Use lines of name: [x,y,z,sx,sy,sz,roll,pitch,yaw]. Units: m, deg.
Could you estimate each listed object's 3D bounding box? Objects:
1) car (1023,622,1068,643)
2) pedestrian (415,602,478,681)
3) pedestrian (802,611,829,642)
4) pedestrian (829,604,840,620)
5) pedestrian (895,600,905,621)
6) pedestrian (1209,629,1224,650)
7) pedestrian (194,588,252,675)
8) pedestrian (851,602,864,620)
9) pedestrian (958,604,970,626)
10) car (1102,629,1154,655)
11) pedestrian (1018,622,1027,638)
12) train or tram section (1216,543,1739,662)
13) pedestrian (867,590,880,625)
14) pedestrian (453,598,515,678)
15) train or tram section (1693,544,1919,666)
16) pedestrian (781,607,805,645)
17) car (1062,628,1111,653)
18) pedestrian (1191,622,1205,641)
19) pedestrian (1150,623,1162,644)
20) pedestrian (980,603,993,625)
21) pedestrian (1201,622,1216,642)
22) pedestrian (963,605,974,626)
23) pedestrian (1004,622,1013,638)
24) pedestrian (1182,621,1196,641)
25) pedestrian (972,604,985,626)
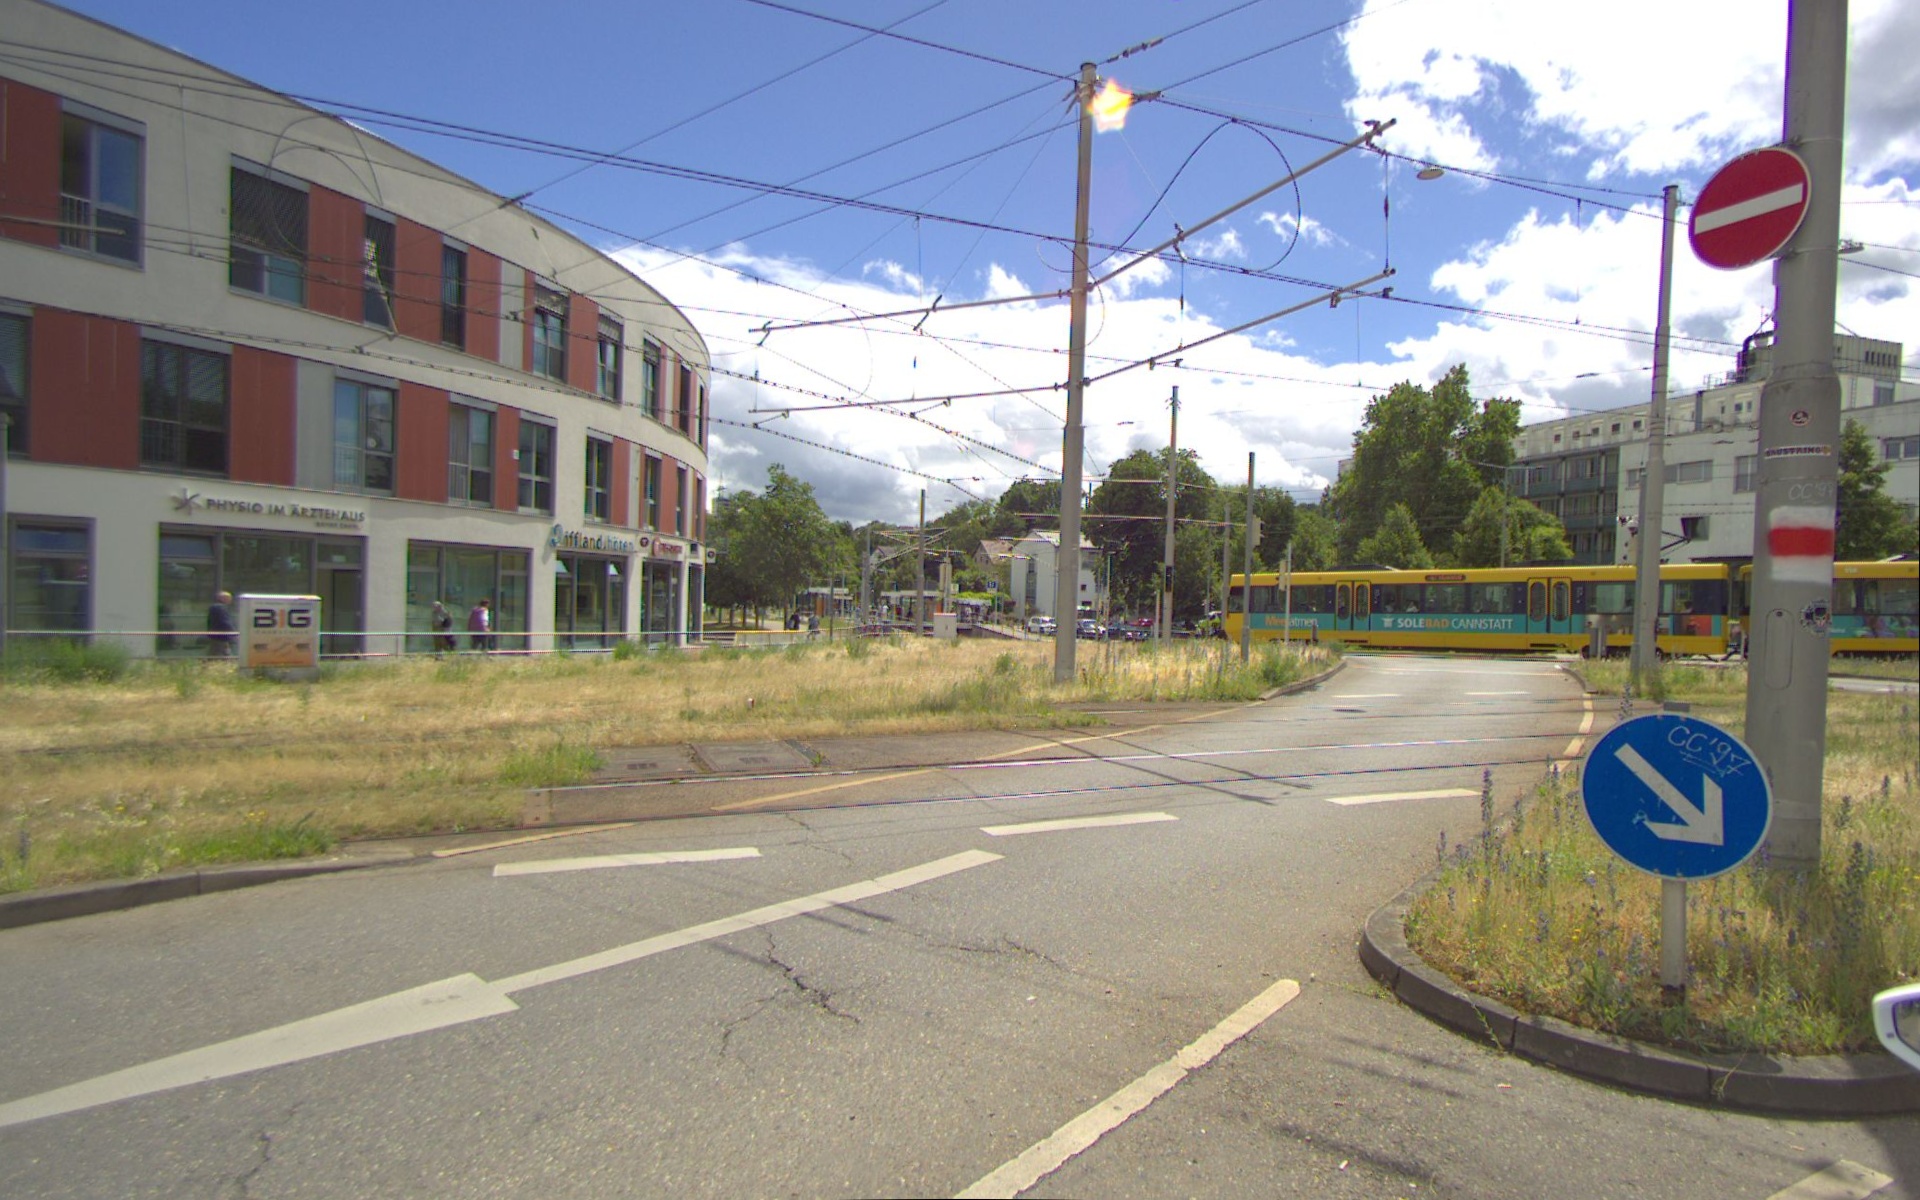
car: [6.796,2.572,80.365,1.908,1.575,4.474,2,-2,-18]
pedestrian: [-13.225,1.061,25.894,0.849,1.994,1.114,1,-1,29]
pedestrian: [-7.820,1.412,54.488,1.020,1.646,0.980,0,-2,38]
pedestrian: [-16.488,1.536,131.725,1.241,2.040,1.121,2,-1,-19]
pedestrian: [-5.989,1.031,100.299,0.807,2.040,0.771,2,-1,-15]
pedestrian: [20.447,3.159,80.091,0.830,1.597,0.811,1,0,-24]
pedestrian: [-13.964,0.587,19.032,0.723,1.601,0.689,0,-1,36]
pedestrian: [-12.130,1.279,118.437,1.241,2.040,1.121,2,-1,-19]
pedestrian: [0.307,1.188,81.763,0.824,1.777,0.795,1,0,-16]
car: [12.354,3.051,74.055,1.991,1.814,4.222,2,-1,-18]
pedestrian: [7.238,3.520,116.997,0.818,1.891,0.817,1,0,-16]
train or tram section: [19.900,0.135,40.887,18.610,3.970,3.745,0,-2,40]
pedestrian: [-14.933,1.355,173.219,1.964,5.998,2.368,2,-1,-9]
pedestrian: [-12.268,0.970,25.914,0.849,1.994,1.104,1,-1,30]
train or tram section: [35.731,0.288,32.000,19.748,3.880,3.763,1,-1,19]
pedestrian: [-7.469,1.158,44.966,0.847,1.646,0.733,1,-1,7]
car: [9.273,2.976,74.043,1.889,1.672,4.238,2,-2,-18]
pedestrian: [20.142,2.644,84.876,0.830,1.597,0.811,1,0,-24]
pedestrian: [18.142,3.128,92.930,0.818,1.891,0.817,1,0,-16]
pedestrian: [2.089,1.104,79.682,0.824,1.714,0.616,1,0,-16]
pedestrian: [20.246,2.614,81.892,0.830,1.597,0.811,1,0,-24]
pedestrian: [0.726,1.254,82.494,0.744,1.707,0.671,1,0,-16]
pedestrian: [5.588,3.472,116.759,0.818,1.891,0.817,1,0,-16]
pedestrian: [19.245,2.609,84.412,0.830,1.597,0.811,1,0,-24]
pedestrian: [1.480,1.209,81.053,0.824,1.755,0.795,1,0,-16]
